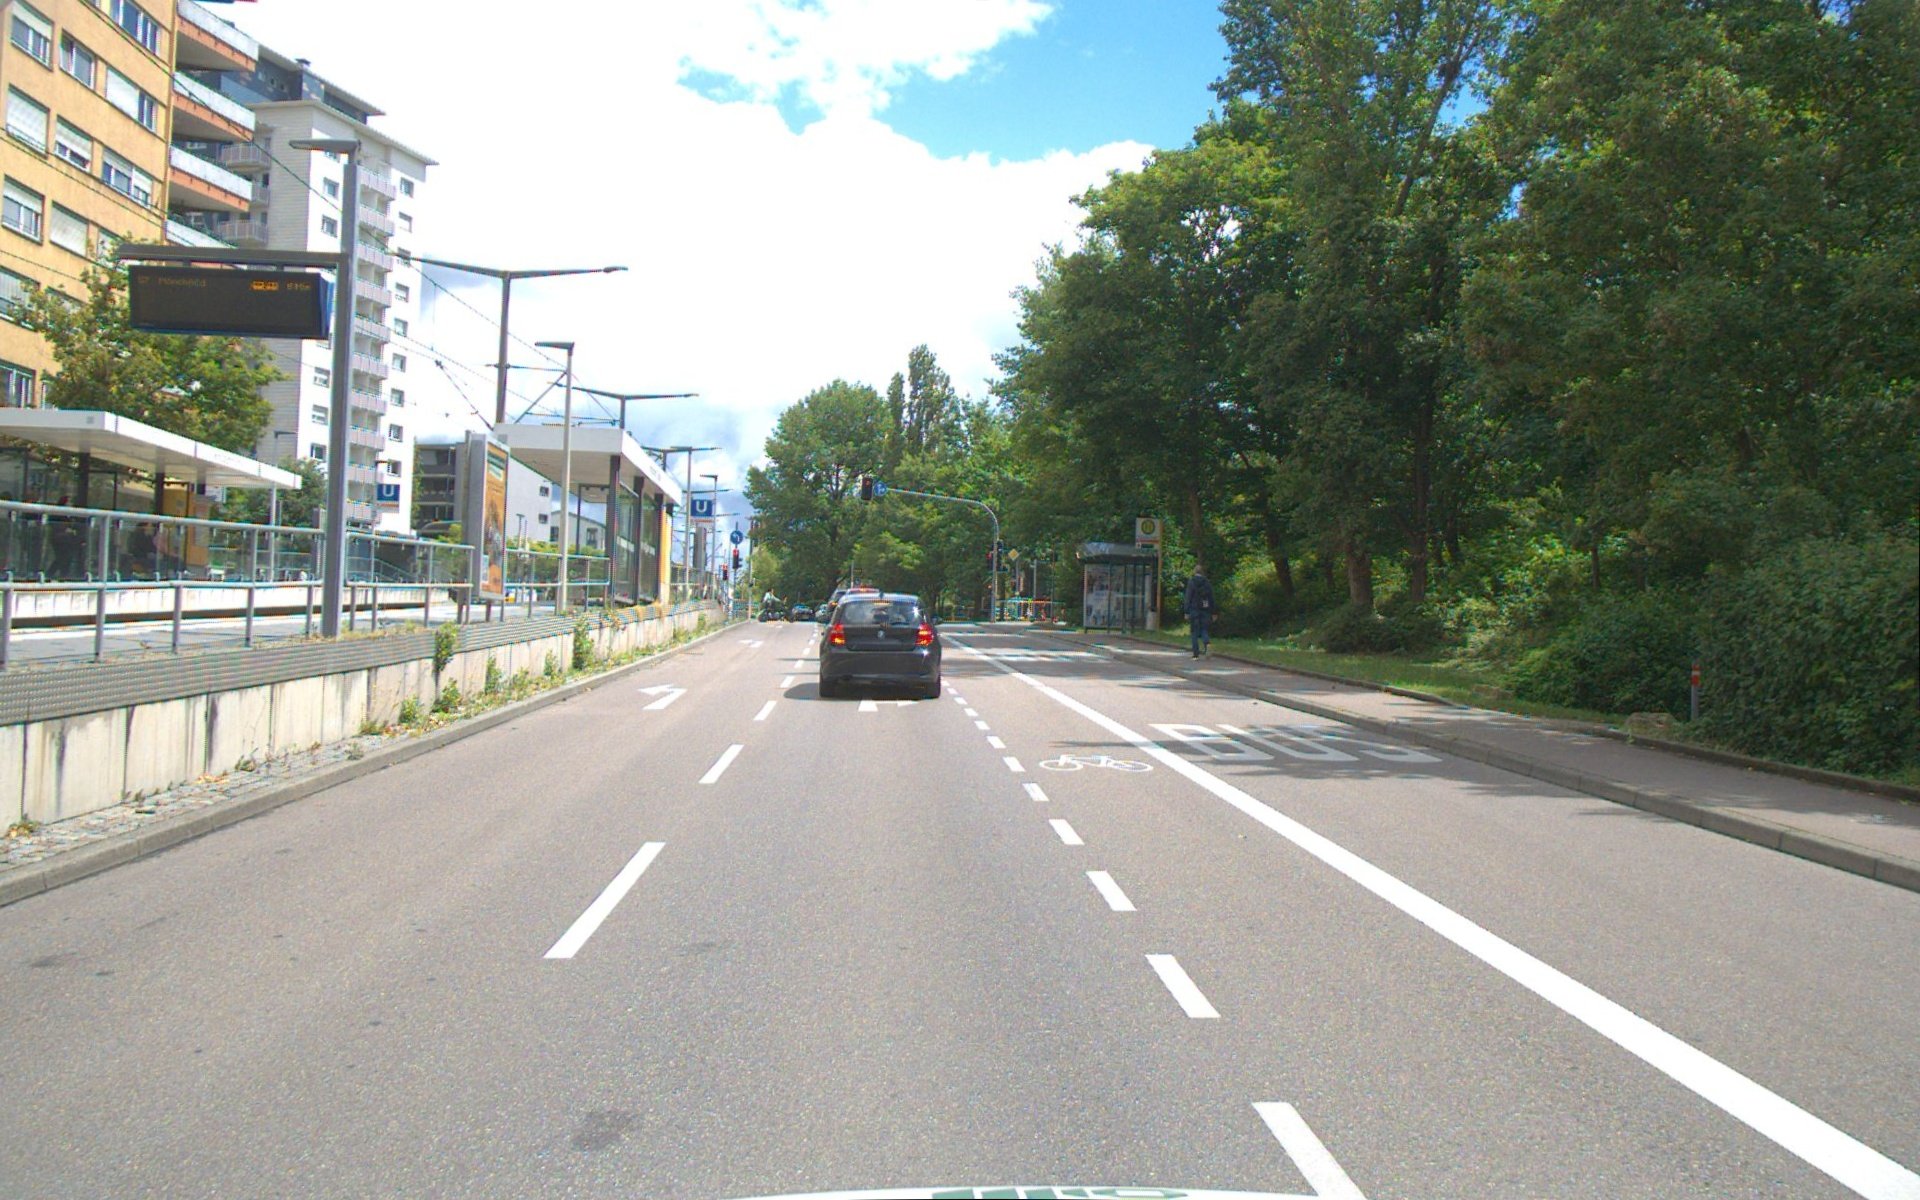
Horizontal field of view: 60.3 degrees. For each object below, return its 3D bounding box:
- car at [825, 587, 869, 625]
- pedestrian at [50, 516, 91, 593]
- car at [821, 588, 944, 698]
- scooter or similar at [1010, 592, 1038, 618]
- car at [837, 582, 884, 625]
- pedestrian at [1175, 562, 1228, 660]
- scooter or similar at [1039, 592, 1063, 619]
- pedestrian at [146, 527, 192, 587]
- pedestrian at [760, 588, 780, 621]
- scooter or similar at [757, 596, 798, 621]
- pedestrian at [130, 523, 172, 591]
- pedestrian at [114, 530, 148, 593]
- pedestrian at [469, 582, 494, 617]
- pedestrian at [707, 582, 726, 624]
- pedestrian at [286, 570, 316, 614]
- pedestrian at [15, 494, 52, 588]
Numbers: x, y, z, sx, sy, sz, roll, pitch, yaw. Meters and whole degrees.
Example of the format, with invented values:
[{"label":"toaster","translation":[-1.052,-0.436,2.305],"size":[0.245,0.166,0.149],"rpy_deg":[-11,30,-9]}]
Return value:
[{"label":"car","translation":[-4.471,0.215,64.997],"size":[1.622,1.443,3.513],"rpy_deg":[1,0,-6]},{"label":"pedestrian","translation":[-16.656,-0.846,30.982],"size":[0.532,1.404,0.519],"rpy_deg":[1,-3,-13]},{"label":"car","translation":[-1.096,0.571,23.791],"size":[1.621,1.443,3.515],"rpy_deg":[1,0,-2]},{"label":"scooter or similar","translation":[3.046,0.256,78.287],"size":[1.269,1.210,0.382],"rpy_deg":[1,0,-20]},{"label":"car","translation":[-3.459,0.118,57.482],"size":[1.563,1.443,3.514],"rpy_deg":[1,0,-3]},{"label":"pedestrian","translation":[4.928,0.221,33.787],"size":[0.785,1.928,1.270],"rpy_deg":[2,0,-3]},{"label":"scooter or similar","translation":[4.353,0.263,79.145],"size":[1.089,1.280,0.330],"rpy_deg":[1,0,-16]},{"label":"pedestrian","translation":[-16.963,-0.921,35.473],"size":[0.727,1.258,0.517],"rpy_deg":[1,0,-4]},{"label":"pedestrian","translation":[-8.415,0.193,73.098],"size":[0.849,1.468,0.797],"rpy_deg":[1,0,-8]},{"label":"scooter or similar","translation":[-8.014,0.381,72.630],"size":[1.751,1.069,0.409],"rpy_deg":[1,0,-17]},{"label":"pedestrian","translation":[-16.920,-0.897,34.591],"size":[0.631,1.393,0.506],"rpy_deg":[1,0,-4]},{"label":"pedestrian","translation":[-16.819,-0.769,33.560],"size":[0.511,1.258,0.541],"rpy_deg":[1,0,-16]},{"label":"pedestrian","translation":[-18.894,-0.026,65.289],"size":[0.681,1.366,0.850],"rpy_deg":[1,0,-34]},{"label":"pedestrian","translation":[-9.727,0.108,65.977],"size":[0.687,1.661,0.637],"rpy_deg":[0,0,-4]},{"label":"pedestrian","translation":[-26.612,-0.317,66.807],"size":[0.839,1.726,0.690],"rpy_deg":[1,0,9]},{"label":"pedestrian","translation":[-16.851,-1.063,30.092],"size":[0.516,1.673,0.557],"rpy_deg":[1,0,-36]}]
